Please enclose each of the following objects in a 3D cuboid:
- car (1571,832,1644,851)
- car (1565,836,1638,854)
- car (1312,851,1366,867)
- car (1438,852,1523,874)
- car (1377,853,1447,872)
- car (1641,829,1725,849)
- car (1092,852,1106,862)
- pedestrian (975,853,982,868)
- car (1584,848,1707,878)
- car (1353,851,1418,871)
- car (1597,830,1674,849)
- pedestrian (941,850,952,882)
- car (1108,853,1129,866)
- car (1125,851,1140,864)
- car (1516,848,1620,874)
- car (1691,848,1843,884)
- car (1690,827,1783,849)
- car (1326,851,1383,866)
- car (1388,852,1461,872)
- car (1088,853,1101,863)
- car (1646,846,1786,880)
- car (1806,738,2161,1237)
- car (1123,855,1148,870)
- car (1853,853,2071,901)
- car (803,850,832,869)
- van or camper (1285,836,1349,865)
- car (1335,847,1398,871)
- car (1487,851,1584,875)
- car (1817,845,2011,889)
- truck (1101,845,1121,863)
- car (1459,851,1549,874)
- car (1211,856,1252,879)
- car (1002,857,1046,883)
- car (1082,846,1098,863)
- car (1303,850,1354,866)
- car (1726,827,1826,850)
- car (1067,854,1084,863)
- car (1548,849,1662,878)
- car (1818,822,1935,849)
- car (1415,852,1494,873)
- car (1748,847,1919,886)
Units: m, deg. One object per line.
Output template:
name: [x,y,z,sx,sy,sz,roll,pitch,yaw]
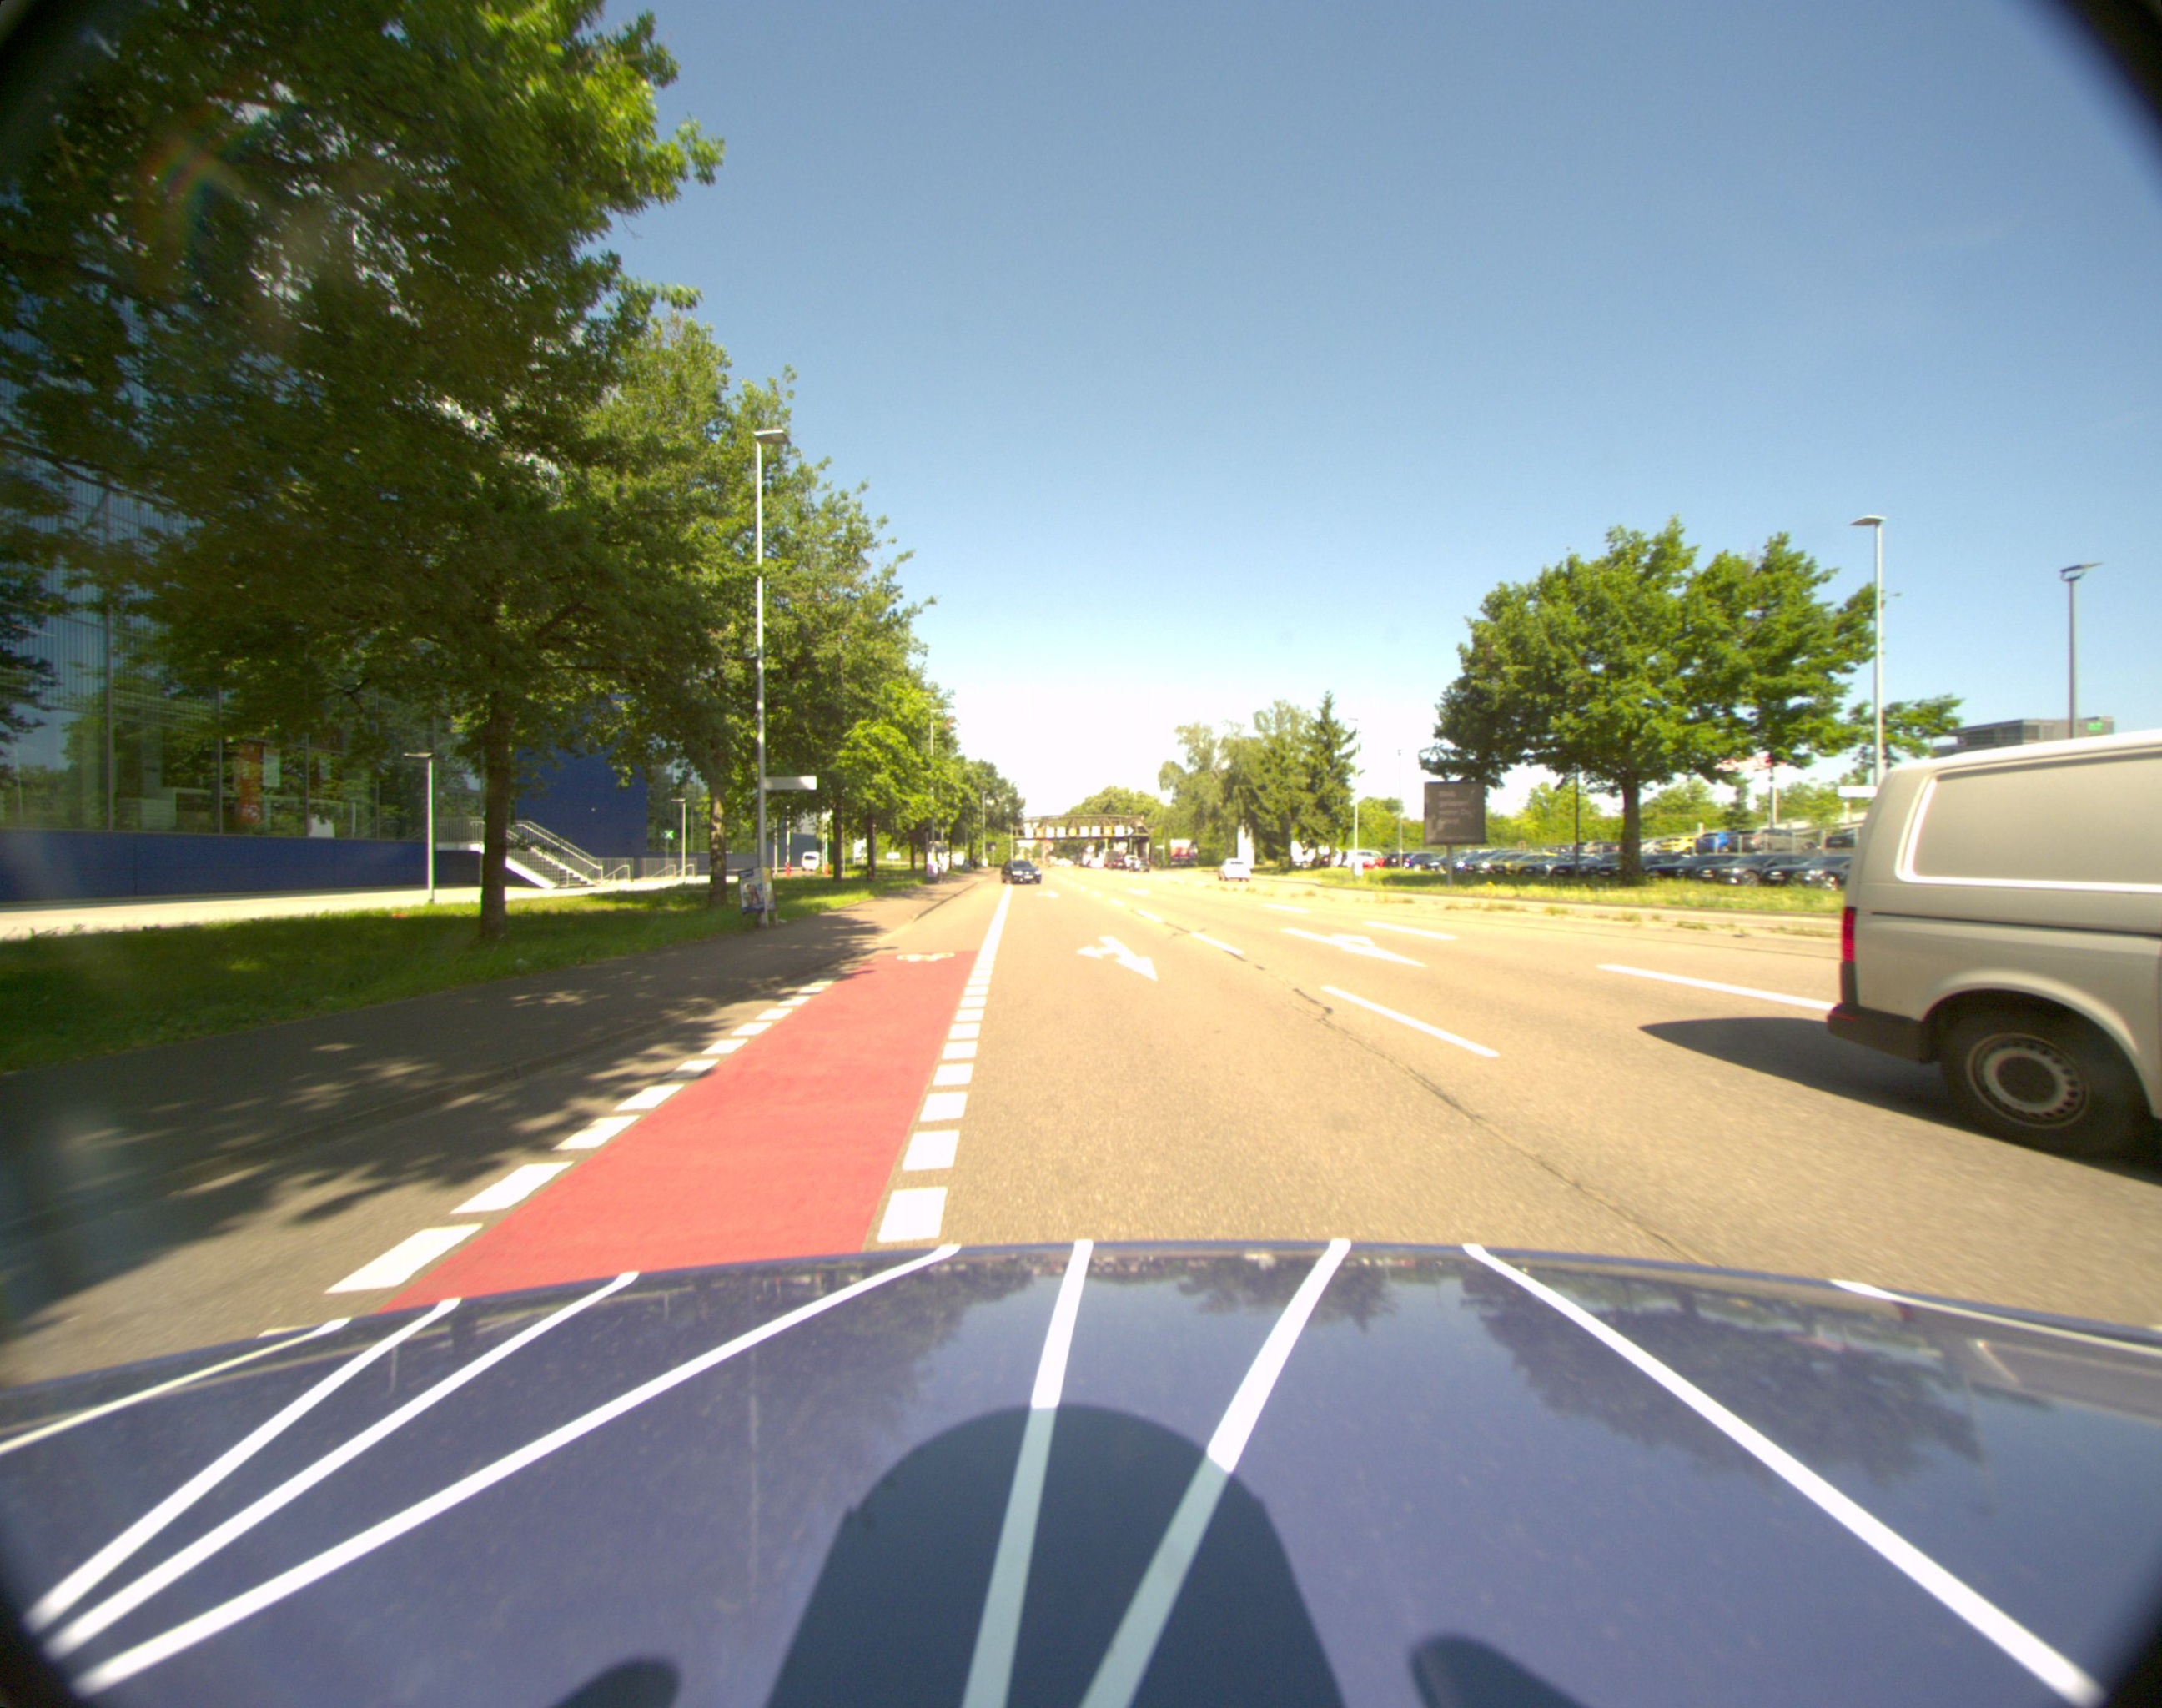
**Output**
car: [39.876,-0.940,57.638,4.278,1.343,1.953,0,0,-3]
car: [39.764,-0.648,58.095,4.278,1.343,1.953,0,0,-3]
car: [22.525,0.410,66.421,4.097,1.346,1.743,0,1,1]
car: [25.002,0.556,47.633,4.277,1.343,1.953,0,0,-2]
car: [24.310,0.600,55.846,4.277,1.320,1.953,0,0,-2]
car: [40.680,-1.000,51.410,4.278,1.343,1.953,0,0,-3]
car: [2.779,0.515,116.116,1.648,1.485,3.828,1,-1,-5]
pedestrian: [-10.886,0.709,80.865,0.649,1.594,0.846,0,0,-3]
car: [26.023,0.400,35.115,4.277,1.343,1.953,0,0,-2]
car: [23.519,0.521,58.791,4.277,1.495,1.953,0,0,-2]
car: [40.186,-1.013,55.103,4.278,1.343,1.953,0,0,-3]
pedestrian: [-7.741,0.698,43.686,0.536,1.831,0.727,0,1,-4]
car: [4.448,0.635,89.824,1.846,1.455,4.998,2,0,-4]
car: [7.863,0.545,116.570,1.998,2.002,5.346,0,0,0]
car: [25.657,0.352,40.120,4.277,1.343,1.953,0,0,-2]
car: [26.684,0.467,29.652,4.277,1.343,1.953,0,0,-2]
car: [41.284,-0.973,47.887,4.278,1.343,1.953,0,0,-3]
car: [22.812,0.369,63.415,4.098,1.285,1.743,0,0,-2]
car: [23.932,0.532,53.019,4.277,1.373,1.953,0,0,-2]
car: [2.207,0.653,124.644,1.773,1.485,4.177,1,-1,-4]
car: [26.415,0.356,31.686,4.277,1.343,1.953,0,0,-2]
car: [5.340,0.524,1.983,1.887,1.982,4.972,0,0,-5]
car: [5.318,0.841,74.201,1.788,1.406,3.998,2,0,-4]
car: [25.924,0.655,22.464,4.277,1.343,1.953,0,0,-2]
car: [-26.050,0.513,75.214,1.911,1.818,4.177,0,0,-7]
van or camper: [22.554,-0.346,72.677,5.395,2.456,1.999,-2,-1,-6]
car: [22.923,0.413,61.078,4.277,1.873,1.953,0,0,-2]
car: [25.422,0.491,42.586,4.277,1.343,1.953,0,0,-2]
car: [27.053,0.402,24.772,4.277,1.343,1.953,0,0,-2]
truck: [5.408,-0.019,137.796,2.348,3.070,7.065,0,0,-7]
car: [25.099,0.508,45.158,4.277,1.343,1.953,0,0,-2]
car: [10.118,0.897,51.210,1.659,1.455,3.548,1,0,-7]
car: [-3.535,0.931,46.302,1.912,1.511,4.368,0,0,-14]
car: [1.476,0.089,131.954,2.000,2.788,6.934,2,0,-6]
car: [22.413,0.333,68.821,4.097,1.430,1.744,0,0,1]
car: [41.212,-0.902,45.130,4.278,1.343,1.953,0,0,-3]
car: [-1.370,1.072,181.522,3.997,2.001,2.000,-2,-1,0]
car: [25.620,0.457,37.224,4.277,1.343,1.953,0,0,-2]
car: [41.561,-0.964,39.752,4.278,1.343,1.953,0,0,-3]
car: [24.746,0.552,50.460,4.277,1.343,1.953,0,0,-2]
car: [26.798,0.422,27.150,4.277,1.343,1.953,0,0,-2]
